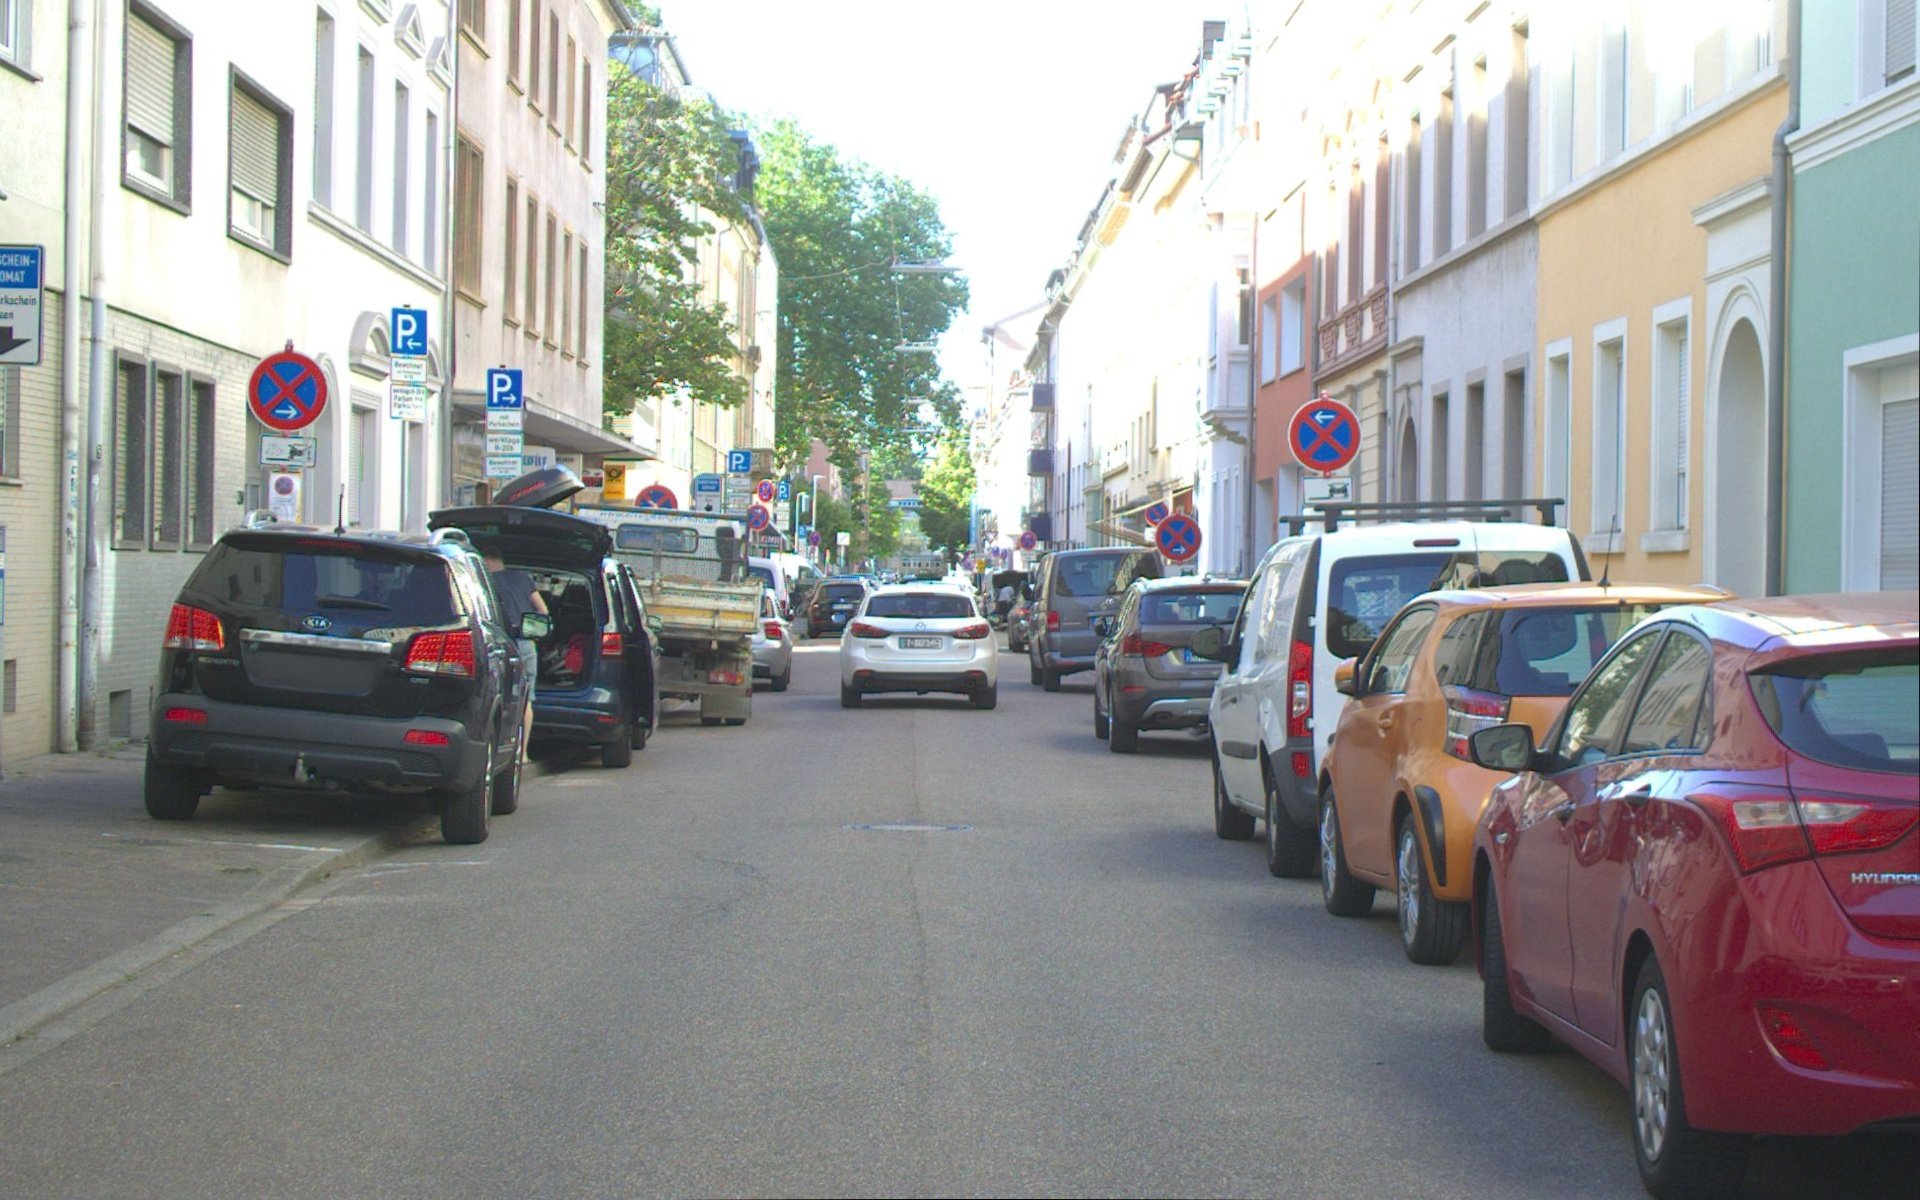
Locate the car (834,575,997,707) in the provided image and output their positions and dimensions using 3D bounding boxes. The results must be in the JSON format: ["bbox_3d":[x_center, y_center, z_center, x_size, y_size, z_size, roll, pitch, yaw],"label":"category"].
[{"bbox_3d":[-0.489,0.448,40.987,1.834,1.481,4.057,1,0,0],"label":"car"}]

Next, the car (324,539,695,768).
[{"bbox_3d":[-3.646,0.379,28.903,2.441,1.700,5.242,1,1,-1],"label":"car"}]

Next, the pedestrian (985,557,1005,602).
[{"bbox_3d":[1.160,-0.663,113.226,0.627,1.459,0.575,0,-1,0],"label":"pedestrian"}]

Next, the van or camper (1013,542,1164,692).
[{"bbox_3d":[1.802,0.218,49.467,1.775,2.029,4.570,-1,0,-3],"label":"van or camper"}]

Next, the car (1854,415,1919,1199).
[{"bbox_3d":[2.607,0.640,3.548,2.005,1.777,4.939,1,1,-1],"label":"car"}]

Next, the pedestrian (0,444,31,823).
[{"bbox_3d":[-5.257,0.156,17.400,0.806,1.927,0.691,4,0,-1],"label":"pedestrian"}]

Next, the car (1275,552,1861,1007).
[{"bbox_3d":[2.412,0.640,14.517,1.580,1.626,3.682,2,1,-3],"label":"car"}]

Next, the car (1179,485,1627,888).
[{"bbox_3d":[2.315,0.418,19.045,1.782,1.955,4.336,1,0,-2],"label":"car"}]

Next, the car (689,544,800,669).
[{"bbox_3d":[-3.353,0.082,53.749,1.647,1.861,4.001,1,0,-3],"label":"car"}]

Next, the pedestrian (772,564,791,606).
[{"bbox_3d":[-6.326,-0.536,121.771,0.627,1.459,0.575,0,-1,0],"label":"pedestrian"}]

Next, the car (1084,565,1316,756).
[{"bbox_3d":[2.132,0.492,31.577,1.739,1.571,4.378,1,1,-1],"label":"car"}]

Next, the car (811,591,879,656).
[{"bbox_3d":[-2.948,0.588,88.844,1.625,1.592,3.580,1,0,0],"label":"car"}]

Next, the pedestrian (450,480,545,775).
[{"bbox_3d":[-3.531,0.210,26.271,0.619,2.221,0.688,0,-1,0],"label":"pedestrian"}]

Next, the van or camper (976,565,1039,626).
[{"bbox_3d":[1.529,-0.141,112.186,1.993,1.919,4.000,0,-1,0],"label":"van or camper"}]

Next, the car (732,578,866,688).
[{"bbox_3d":[-2.210,0.420,47.818,1.758,1.411,4.000,-1,1,-2],"label":"car"}]

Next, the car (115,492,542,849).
[{"bbox_3d":[-3.580,0.326,20.272,1.879,1.749,4.544,4,1,-4],"label":"car"}]

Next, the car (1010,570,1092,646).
[{"bbox_3d":[1.934,0.143,73.993,1.647,1.571,3.679,1,0,0],"label":"car"}]

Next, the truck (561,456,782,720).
[{"bbox_3d":[-3.106,-0.082,36.837,2.156,2.581,6.250,0,-1,-5],"label":"truck"}]

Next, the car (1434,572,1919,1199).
[{"bbox_3d":[2.511,0.737,9.561,1.742,1.563,4.032,1,1,-1],"label":"car"}]
